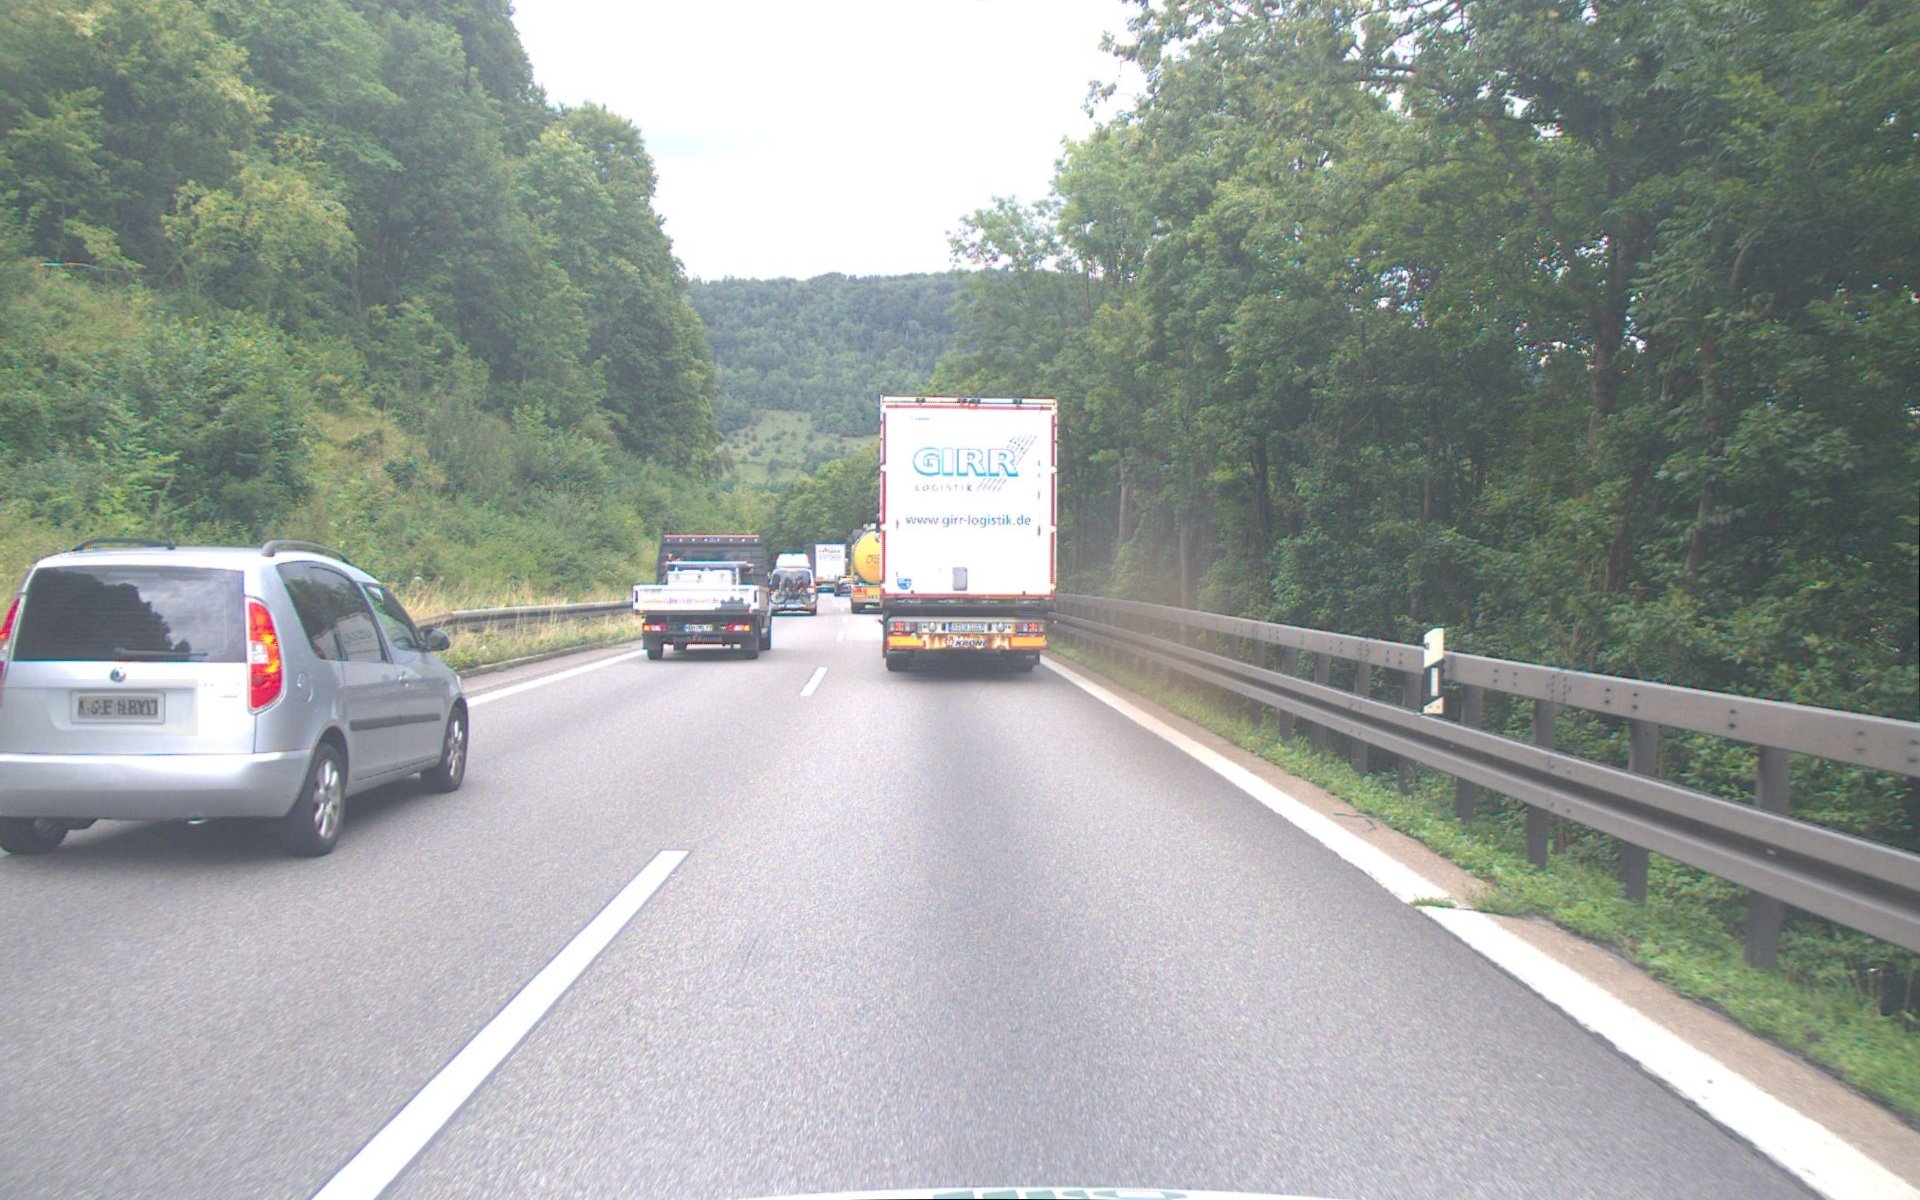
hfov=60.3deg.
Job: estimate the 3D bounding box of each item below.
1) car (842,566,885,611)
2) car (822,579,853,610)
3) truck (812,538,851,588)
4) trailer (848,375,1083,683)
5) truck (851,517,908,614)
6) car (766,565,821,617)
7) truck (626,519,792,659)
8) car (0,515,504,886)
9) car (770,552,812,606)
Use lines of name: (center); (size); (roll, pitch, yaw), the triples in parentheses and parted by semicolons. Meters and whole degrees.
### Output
car: (-4.589, -0.539, 79.146); (1.954, 2.049, 4.331); (2, 0, -3)
car: (-8.667, -0.404, 116.480); (1.955, 2.049, 3.994); (2, 0, -6)
truck: (-10.796, -3.029, 138.821); (3.009, 3.945, 8.450); (2, 0, -5)
trailer: (-0.070, -1.031, 27.784); (3.070, 4.113, 9.436); (3, 0, -2)
truck: (-3.385, -1.409, 70.804); (2.188, 3.870, 6.821); (2, 0, -1)
car: (-6.668, -0.391, 66.770); (1.978, 1.947, 5.559); (2, 1, -4)
truck: (-4.617, -0.210, 31.622); (2.302, 2.313, 6.846); (2, 0, -2)
car: (-4.110, 0.465, 10.054); (1.601, 1.757, 4.343); (1, 0, -2)
car: (-8.777, -1.086, 86.189); (2.082, 2.644, 5.557); (1, 0, -5)
